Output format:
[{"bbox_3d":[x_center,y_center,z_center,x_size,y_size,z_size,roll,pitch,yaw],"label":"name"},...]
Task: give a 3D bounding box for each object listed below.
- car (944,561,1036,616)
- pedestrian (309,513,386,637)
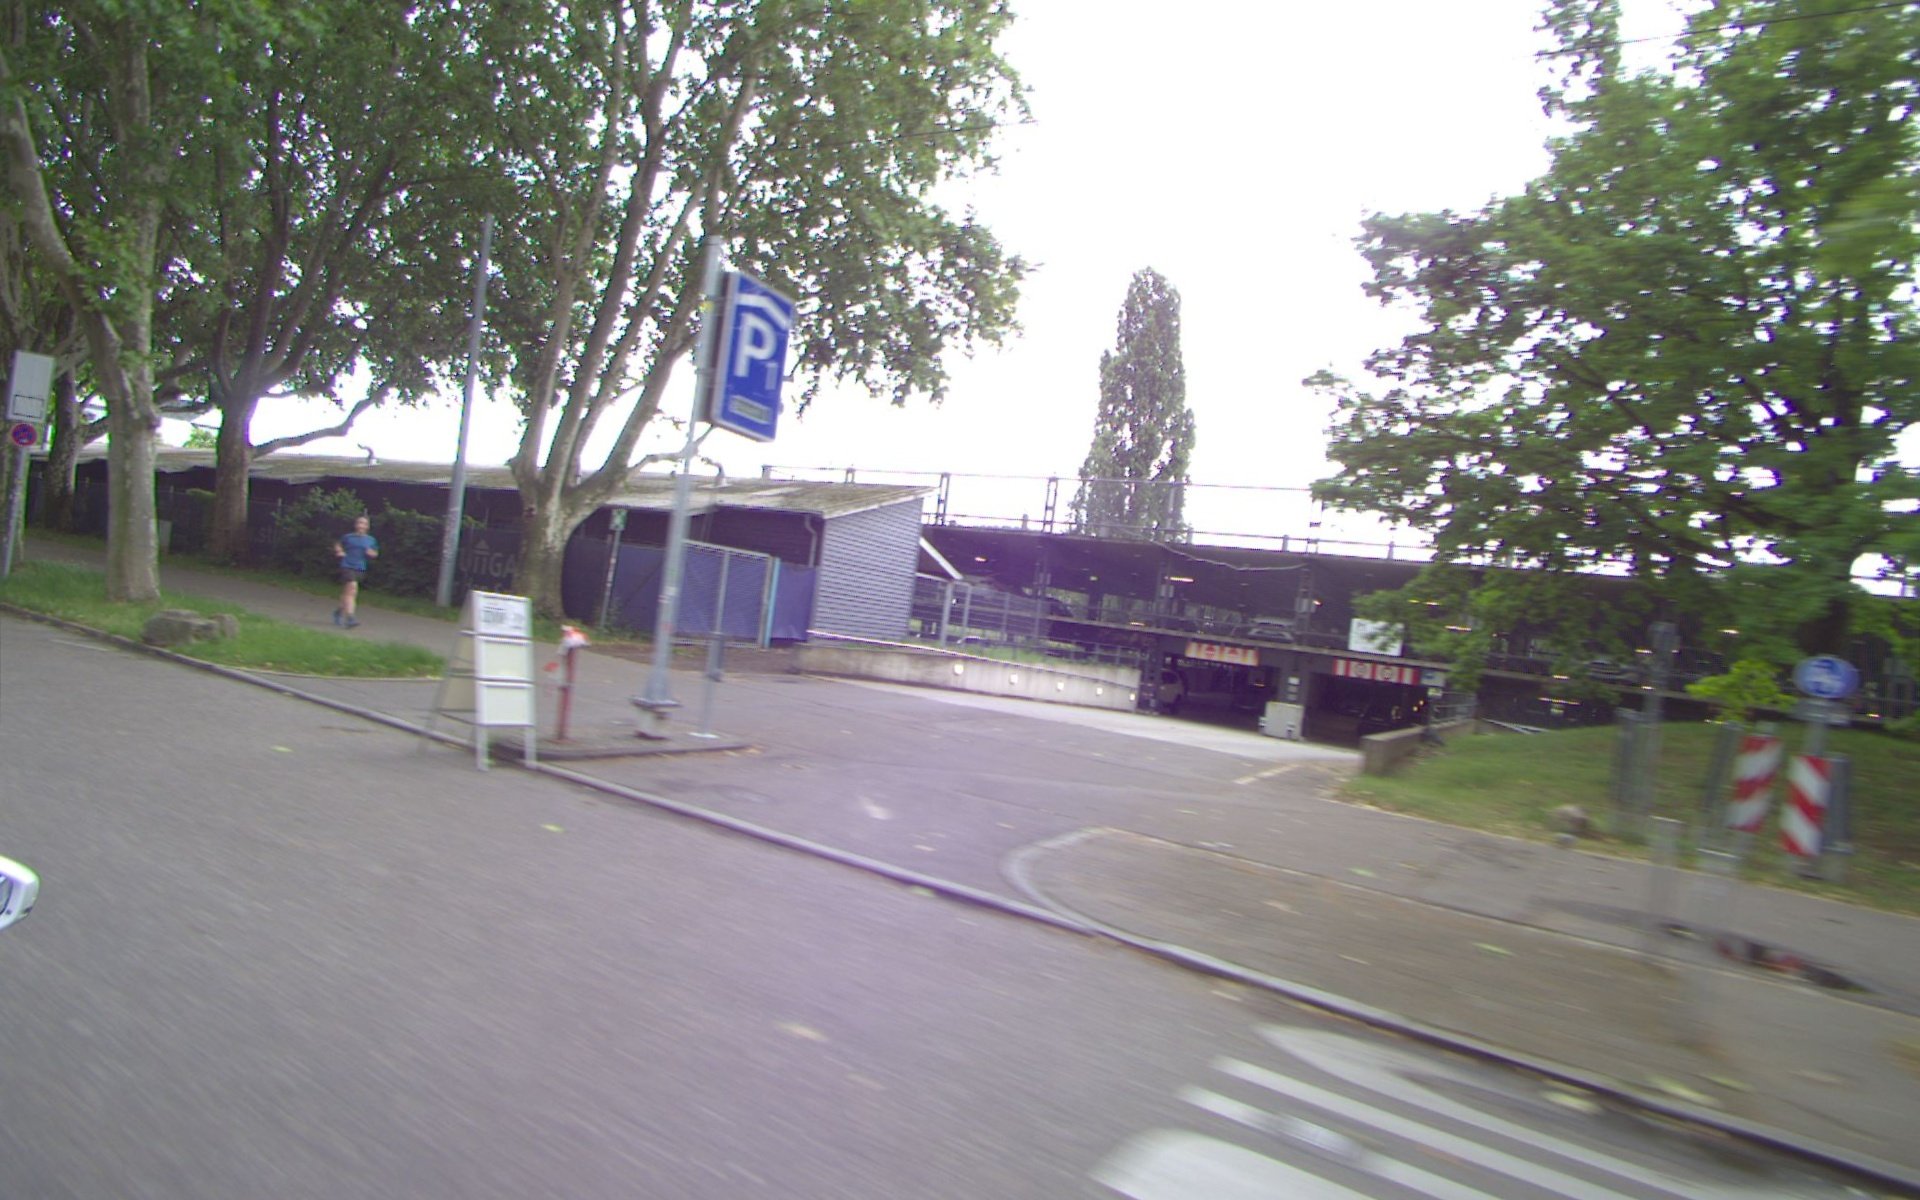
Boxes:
[{"bbox_3d":[1.334,-0.437,42.408,1.950,1.692,4.271,7,-2,29],"label":"car"},{"bbox_3d":[-10.796,-0.443,17.731,0.869,2.037,0.709,7,-1,41],"label":"pedestrian"}]
